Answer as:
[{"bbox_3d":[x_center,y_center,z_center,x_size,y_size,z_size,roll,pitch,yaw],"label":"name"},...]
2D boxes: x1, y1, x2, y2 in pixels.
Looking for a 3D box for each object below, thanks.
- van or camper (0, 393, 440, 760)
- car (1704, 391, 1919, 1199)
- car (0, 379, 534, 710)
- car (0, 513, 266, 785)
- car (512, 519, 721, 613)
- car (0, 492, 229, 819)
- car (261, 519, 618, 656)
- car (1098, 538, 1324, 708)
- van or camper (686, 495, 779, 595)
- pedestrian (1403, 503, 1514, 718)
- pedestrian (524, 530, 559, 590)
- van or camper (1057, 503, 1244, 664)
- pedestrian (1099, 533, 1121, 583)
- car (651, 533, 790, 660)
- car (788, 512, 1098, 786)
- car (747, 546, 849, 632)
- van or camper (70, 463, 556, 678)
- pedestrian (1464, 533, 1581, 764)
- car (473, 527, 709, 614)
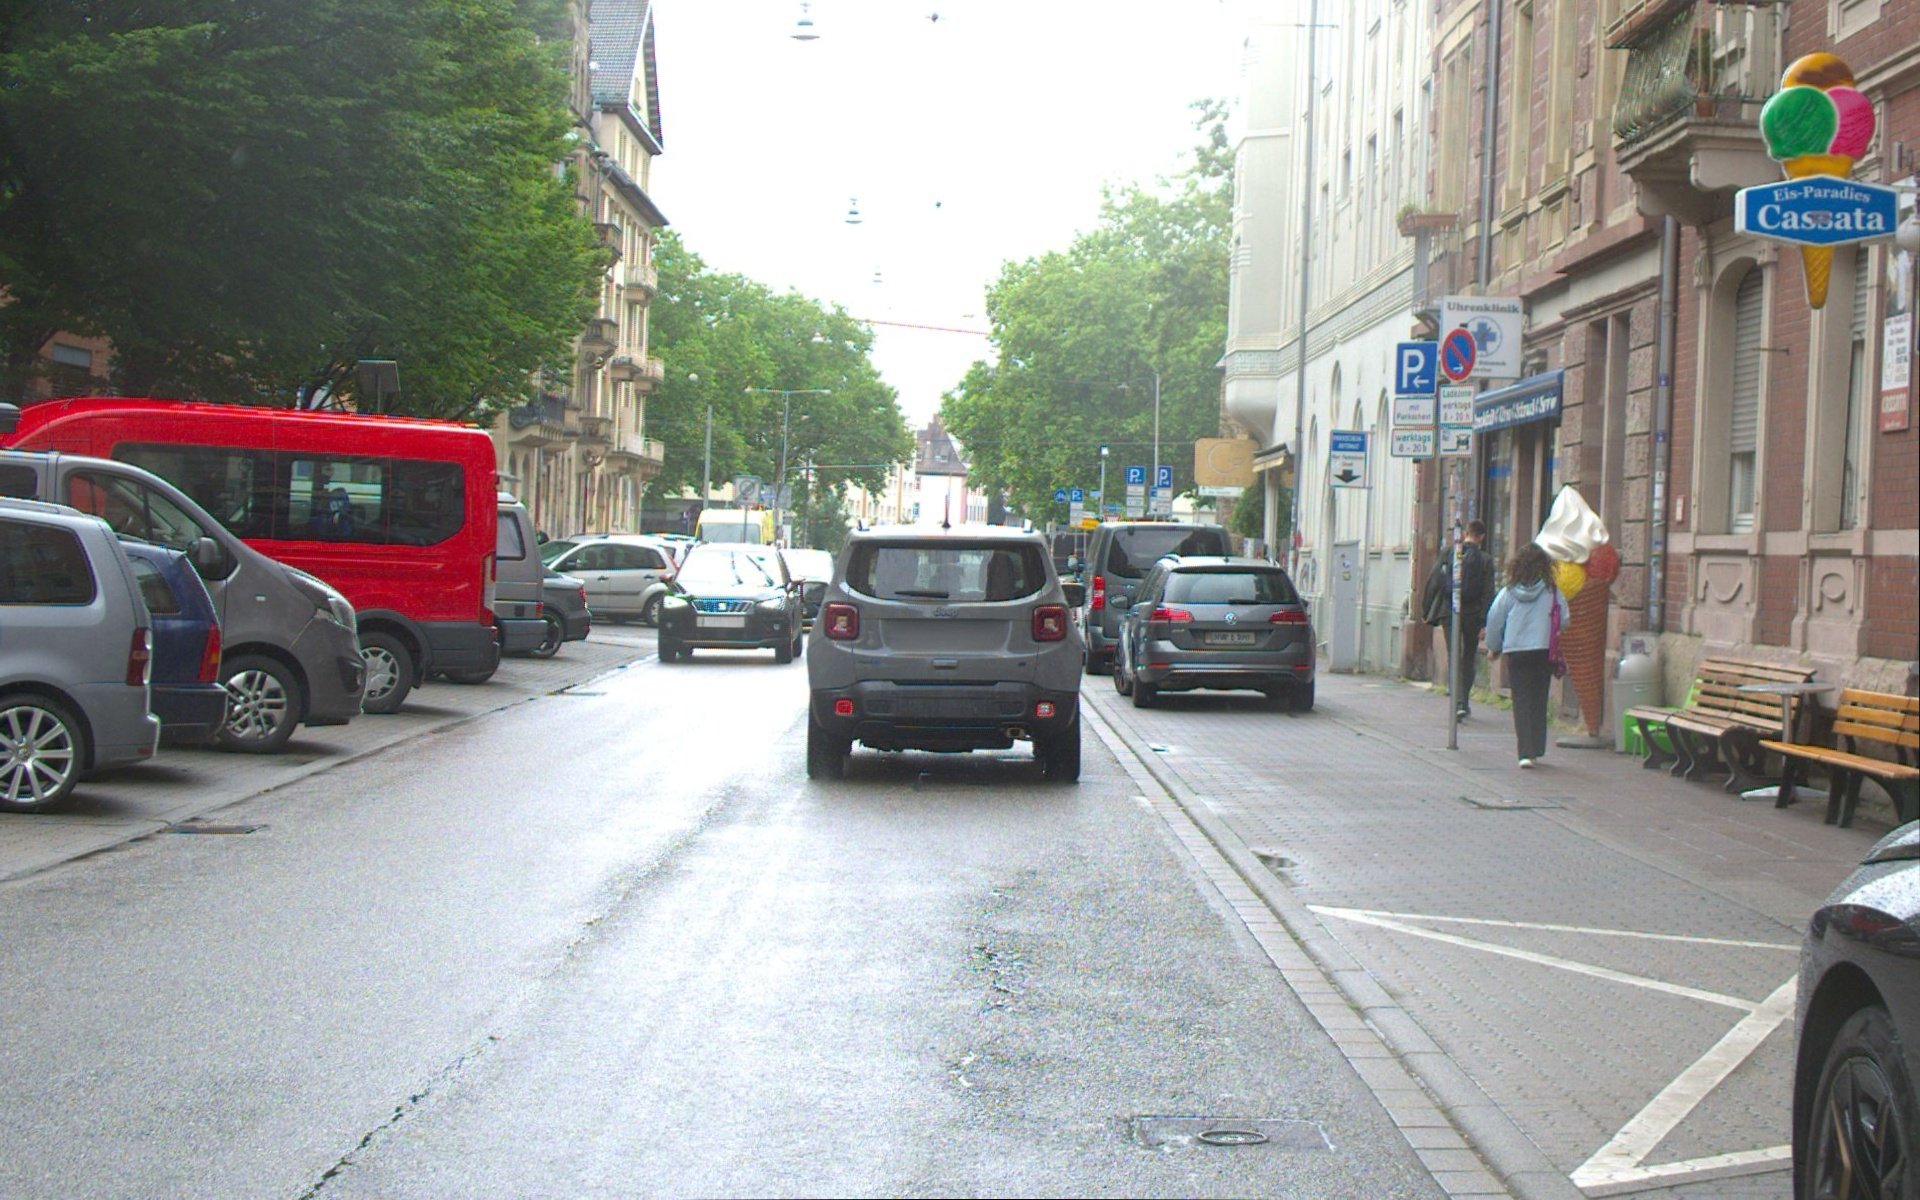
[{"bbox_3d":[-6.369,-0.201,23.487,5.008,2.341,2.345,2,1,-26],"label":"van or camper"},{"bbox_3d":[2.412,0.620,3.878,1.993,1.773,4.827,1,1,-1],"label":"car"},{"bbox_3d":[-6.628,-0.463,28.763,5.554,2.532,2.230,2,1,-27],"label":"car"},{"bbox_3d":[-6.527,0.194,20.521,4.341,1.499,1.755,3,1,-22],"label":"car"},{"bbox_3d":[-6.234,-0.609,62.398,3.375,1.648,1.634,0,1,-33],"label":"car"},{"bbox_3d":[-6.320,0.153,18.067,4.430,1.625,1.845,4,1,-26],"label":"car"},{"bbox_3d":[-6.438,-0.142,42.720,3.967,1.442,1.767,3,1,-40],"label":"car"},{"bbox_3d":[2.415,0.184,33.981,1.841,1.540,4.004,1,1,-1],"label":"car"},{"bbox_3d":[-6.318,-1.480,96.178,2.121,2.522,6.874,-2,-1,0],"label":"van or camper"},{"bbox_3d":[4.539,0.088,31.307,0.680,1.927,0.808,1,1,35],"label":"pedestrian"},{"bbox_3d":[-11.203,-1.075,92.014,0.709,1.546,0.607,4,1,7],"label":"pedestrian"},{"bbox_3d":[2.338,-0.240,43.417,2.021,1.884,5.055,1,1,0],"label":"van or camper"},{"bbox_3d":[5.126,-1.450,117.670,0.691,1.705,0.684,1,1,0],"label":"pedestrian"},{"bbox_3d":[-3.125,-0.070,45.468,1.669,1.554,4.004,2,1,-2],"label":"car"},{"bbox_3d":[-0.146,0.274,23.719,1.898,1.665,4.506,1,1,-1],"label":"car"},{"bbox_3d":[-2.884,-0.225,61.806,1.669,1.460,4.004,1,1,-1],"label":"car"},{"bbox_3d":[-6.556,-0.284,35.004,4.434,1.968,1.782,2,1,-33],"label":"van or camper"},{"bbox_3d":[4.015,0.335,24.587,0.679,1.608,0.810,1,1,0],"label":"pedestrian"},{"bbox_3d":[-6.375,-0.512,59.520,3.702,1.447,1.685,0,1,-35],"label":"car"}]
